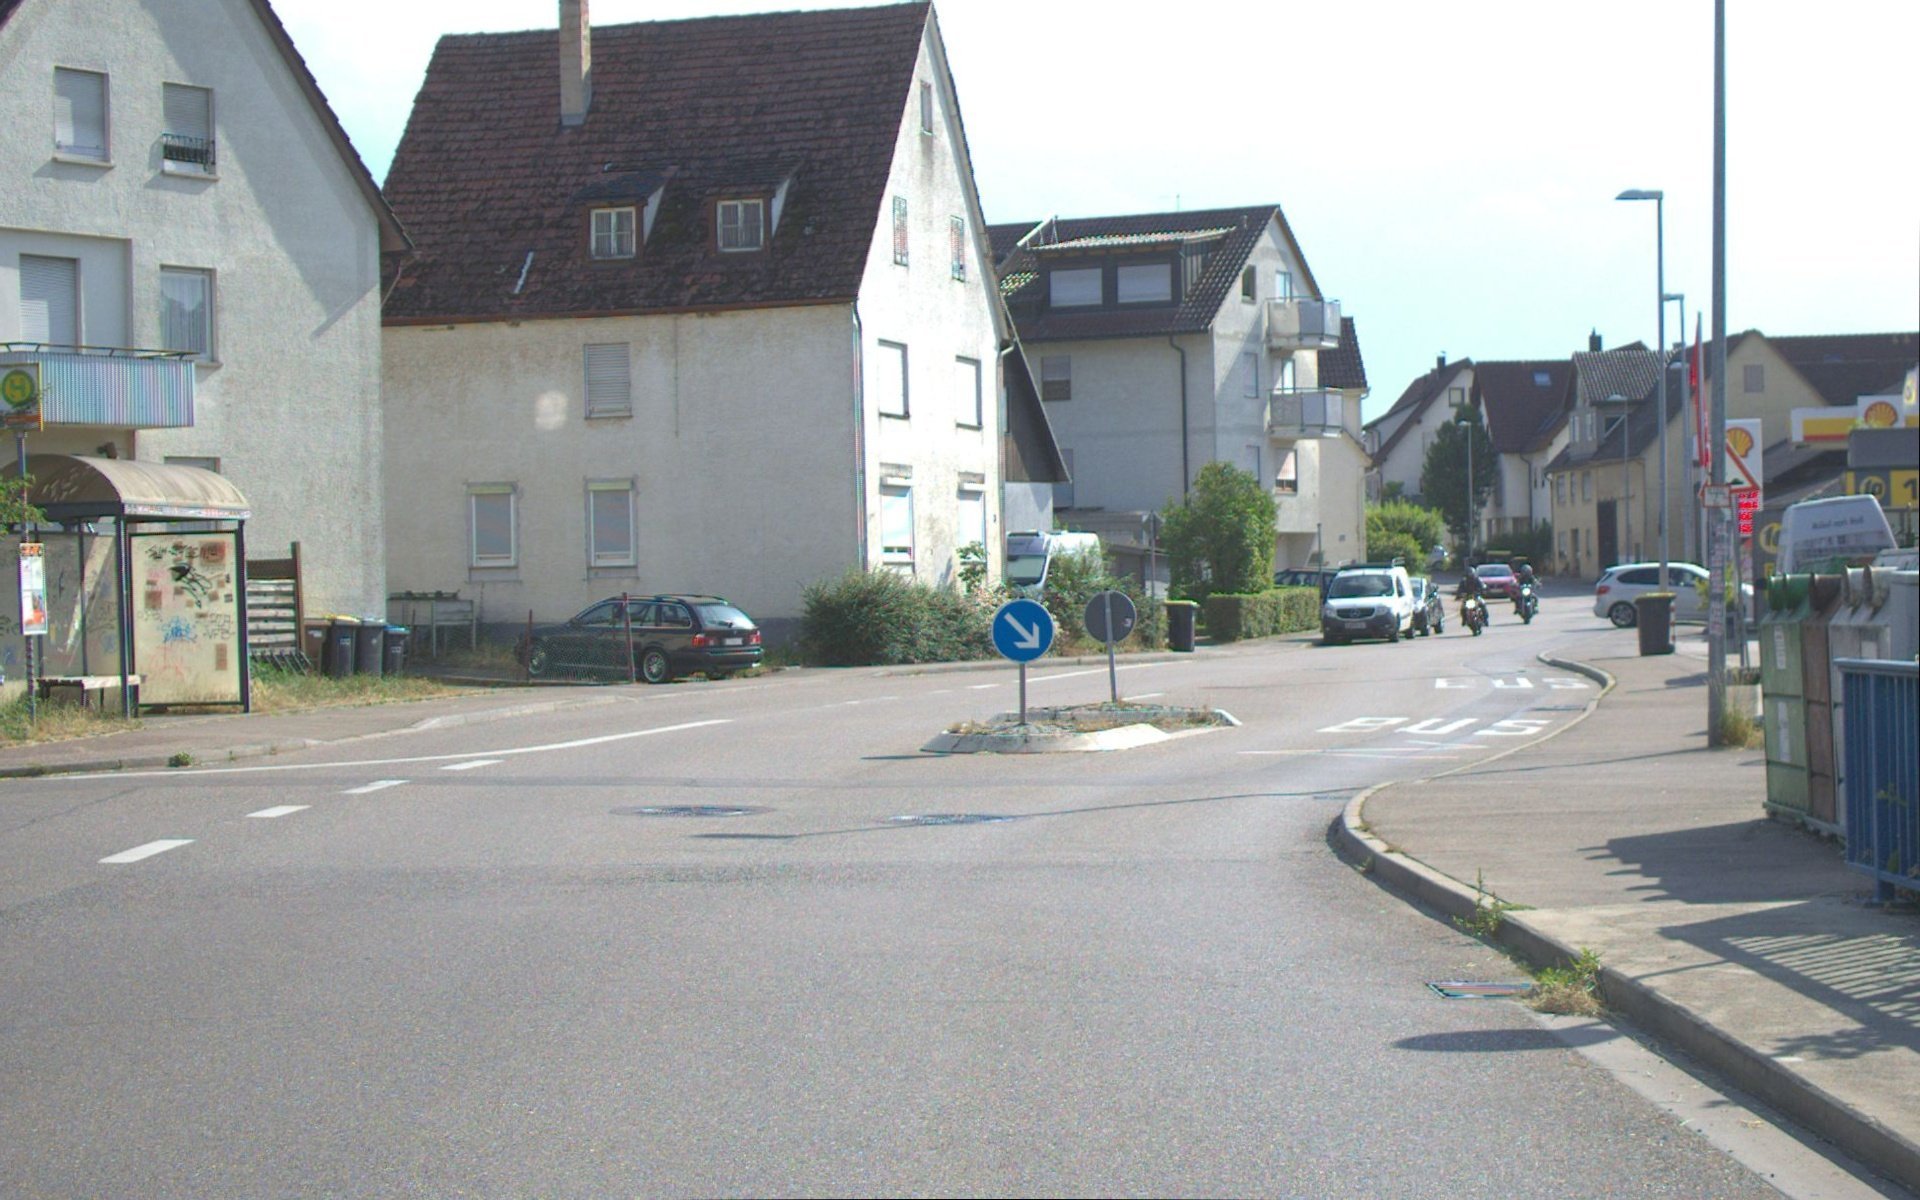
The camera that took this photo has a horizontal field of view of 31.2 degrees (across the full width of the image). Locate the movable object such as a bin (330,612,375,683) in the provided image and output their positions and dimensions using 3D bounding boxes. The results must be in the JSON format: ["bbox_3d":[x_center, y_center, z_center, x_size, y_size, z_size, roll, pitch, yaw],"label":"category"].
[{"bbox_3d":[-8.897,0.698,50.349,0.362,1.038,0.557,-1,-1,31],"label":"movable object such as a bin"}]

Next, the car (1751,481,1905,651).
[{"bbox_3d":[12.903,-0.497,51.350,1.837,2.367,5.176,-2,0,10],"label":"car"}]

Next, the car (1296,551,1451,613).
[{"bbox_3d":[11.853,-0.542,98.580,3.993,1.533,1.760,4,3,26],"label":"car"}]

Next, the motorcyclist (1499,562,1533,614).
[{"bbox_3d":[15.435,-0.337,95.374,0.803,1.431,1.036,0,0,17],"label":"motorcyclist"}]

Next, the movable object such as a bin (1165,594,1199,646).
[{"bbox_3d":[4.672,0.423,72.436,0.611,1.097,0.575,0,-1,15],"label":"movable object such as a bin"}]

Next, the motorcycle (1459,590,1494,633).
[{"bbox_3d":[12.617,0.278,83.967,0.538,1.009,2.026,1,0,17],"label":"motorcycle"}]

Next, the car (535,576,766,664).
[{"bbox_3d":[-5.307,0.314,58.751,3.997,1.428,1.649,1,1,42],"label":"car"}]

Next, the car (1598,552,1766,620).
[{"bbox_3d":[17.989,-0.355,85.618,3.989,1.603,1.999,-1,0,14],"label":"car"}]

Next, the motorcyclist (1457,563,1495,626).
[{"bbox_3d":[12.596,-0.133,83.891,0.737,1.522,1.016,2,0,16],"label":"motorcyclist"}]

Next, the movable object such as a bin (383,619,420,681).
[{"bbox_3d":[-8.345,0.748,51.378,0.362,0.922,0.399,-1,-1,31],"label":"movable object such as a bin"}]

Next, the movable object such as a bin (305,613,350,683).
[{"bbox_3d":[-9.175,0.695,49.858,0.362,1.012,0.557,-1,-1,31],"label":"movable object such as a bin"}]

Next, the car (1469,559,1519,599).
[{"bbox_3d":[20.328,-0.795,130.942,1.709,1.430,3.779,-3,0,7],"label":"car"}]

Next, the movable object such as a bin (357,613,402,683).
[{"bbox_3d":[-8.598,0.710,50.916,0.362,1.019,0.576,-1,-1,31],"label":"movable object such as a bin"}]

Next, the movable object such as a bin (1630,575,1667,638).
[{"bbox_3d":[11.937,0.111,59.612,0.567,1.071,0.572,-2,0,10],"label":"movable object such as a bin"}]

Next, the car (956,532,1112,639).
[{"bbox_3d":[1.910,-0.395,85.995,2.160,2.587,6.088,0,1,19],"label":"car"}]

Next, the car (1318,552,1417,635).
[{"bbox_3d":[9.774,-0.185,82.217,1.717,1.866,4.189,-2,0,15],"label":"car"}]

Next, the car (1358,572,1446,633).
[{"bbox_3d":[11.237,0.054,87.251,1.674,1.446,3.832,-2,0,15],"label":"car"}]
